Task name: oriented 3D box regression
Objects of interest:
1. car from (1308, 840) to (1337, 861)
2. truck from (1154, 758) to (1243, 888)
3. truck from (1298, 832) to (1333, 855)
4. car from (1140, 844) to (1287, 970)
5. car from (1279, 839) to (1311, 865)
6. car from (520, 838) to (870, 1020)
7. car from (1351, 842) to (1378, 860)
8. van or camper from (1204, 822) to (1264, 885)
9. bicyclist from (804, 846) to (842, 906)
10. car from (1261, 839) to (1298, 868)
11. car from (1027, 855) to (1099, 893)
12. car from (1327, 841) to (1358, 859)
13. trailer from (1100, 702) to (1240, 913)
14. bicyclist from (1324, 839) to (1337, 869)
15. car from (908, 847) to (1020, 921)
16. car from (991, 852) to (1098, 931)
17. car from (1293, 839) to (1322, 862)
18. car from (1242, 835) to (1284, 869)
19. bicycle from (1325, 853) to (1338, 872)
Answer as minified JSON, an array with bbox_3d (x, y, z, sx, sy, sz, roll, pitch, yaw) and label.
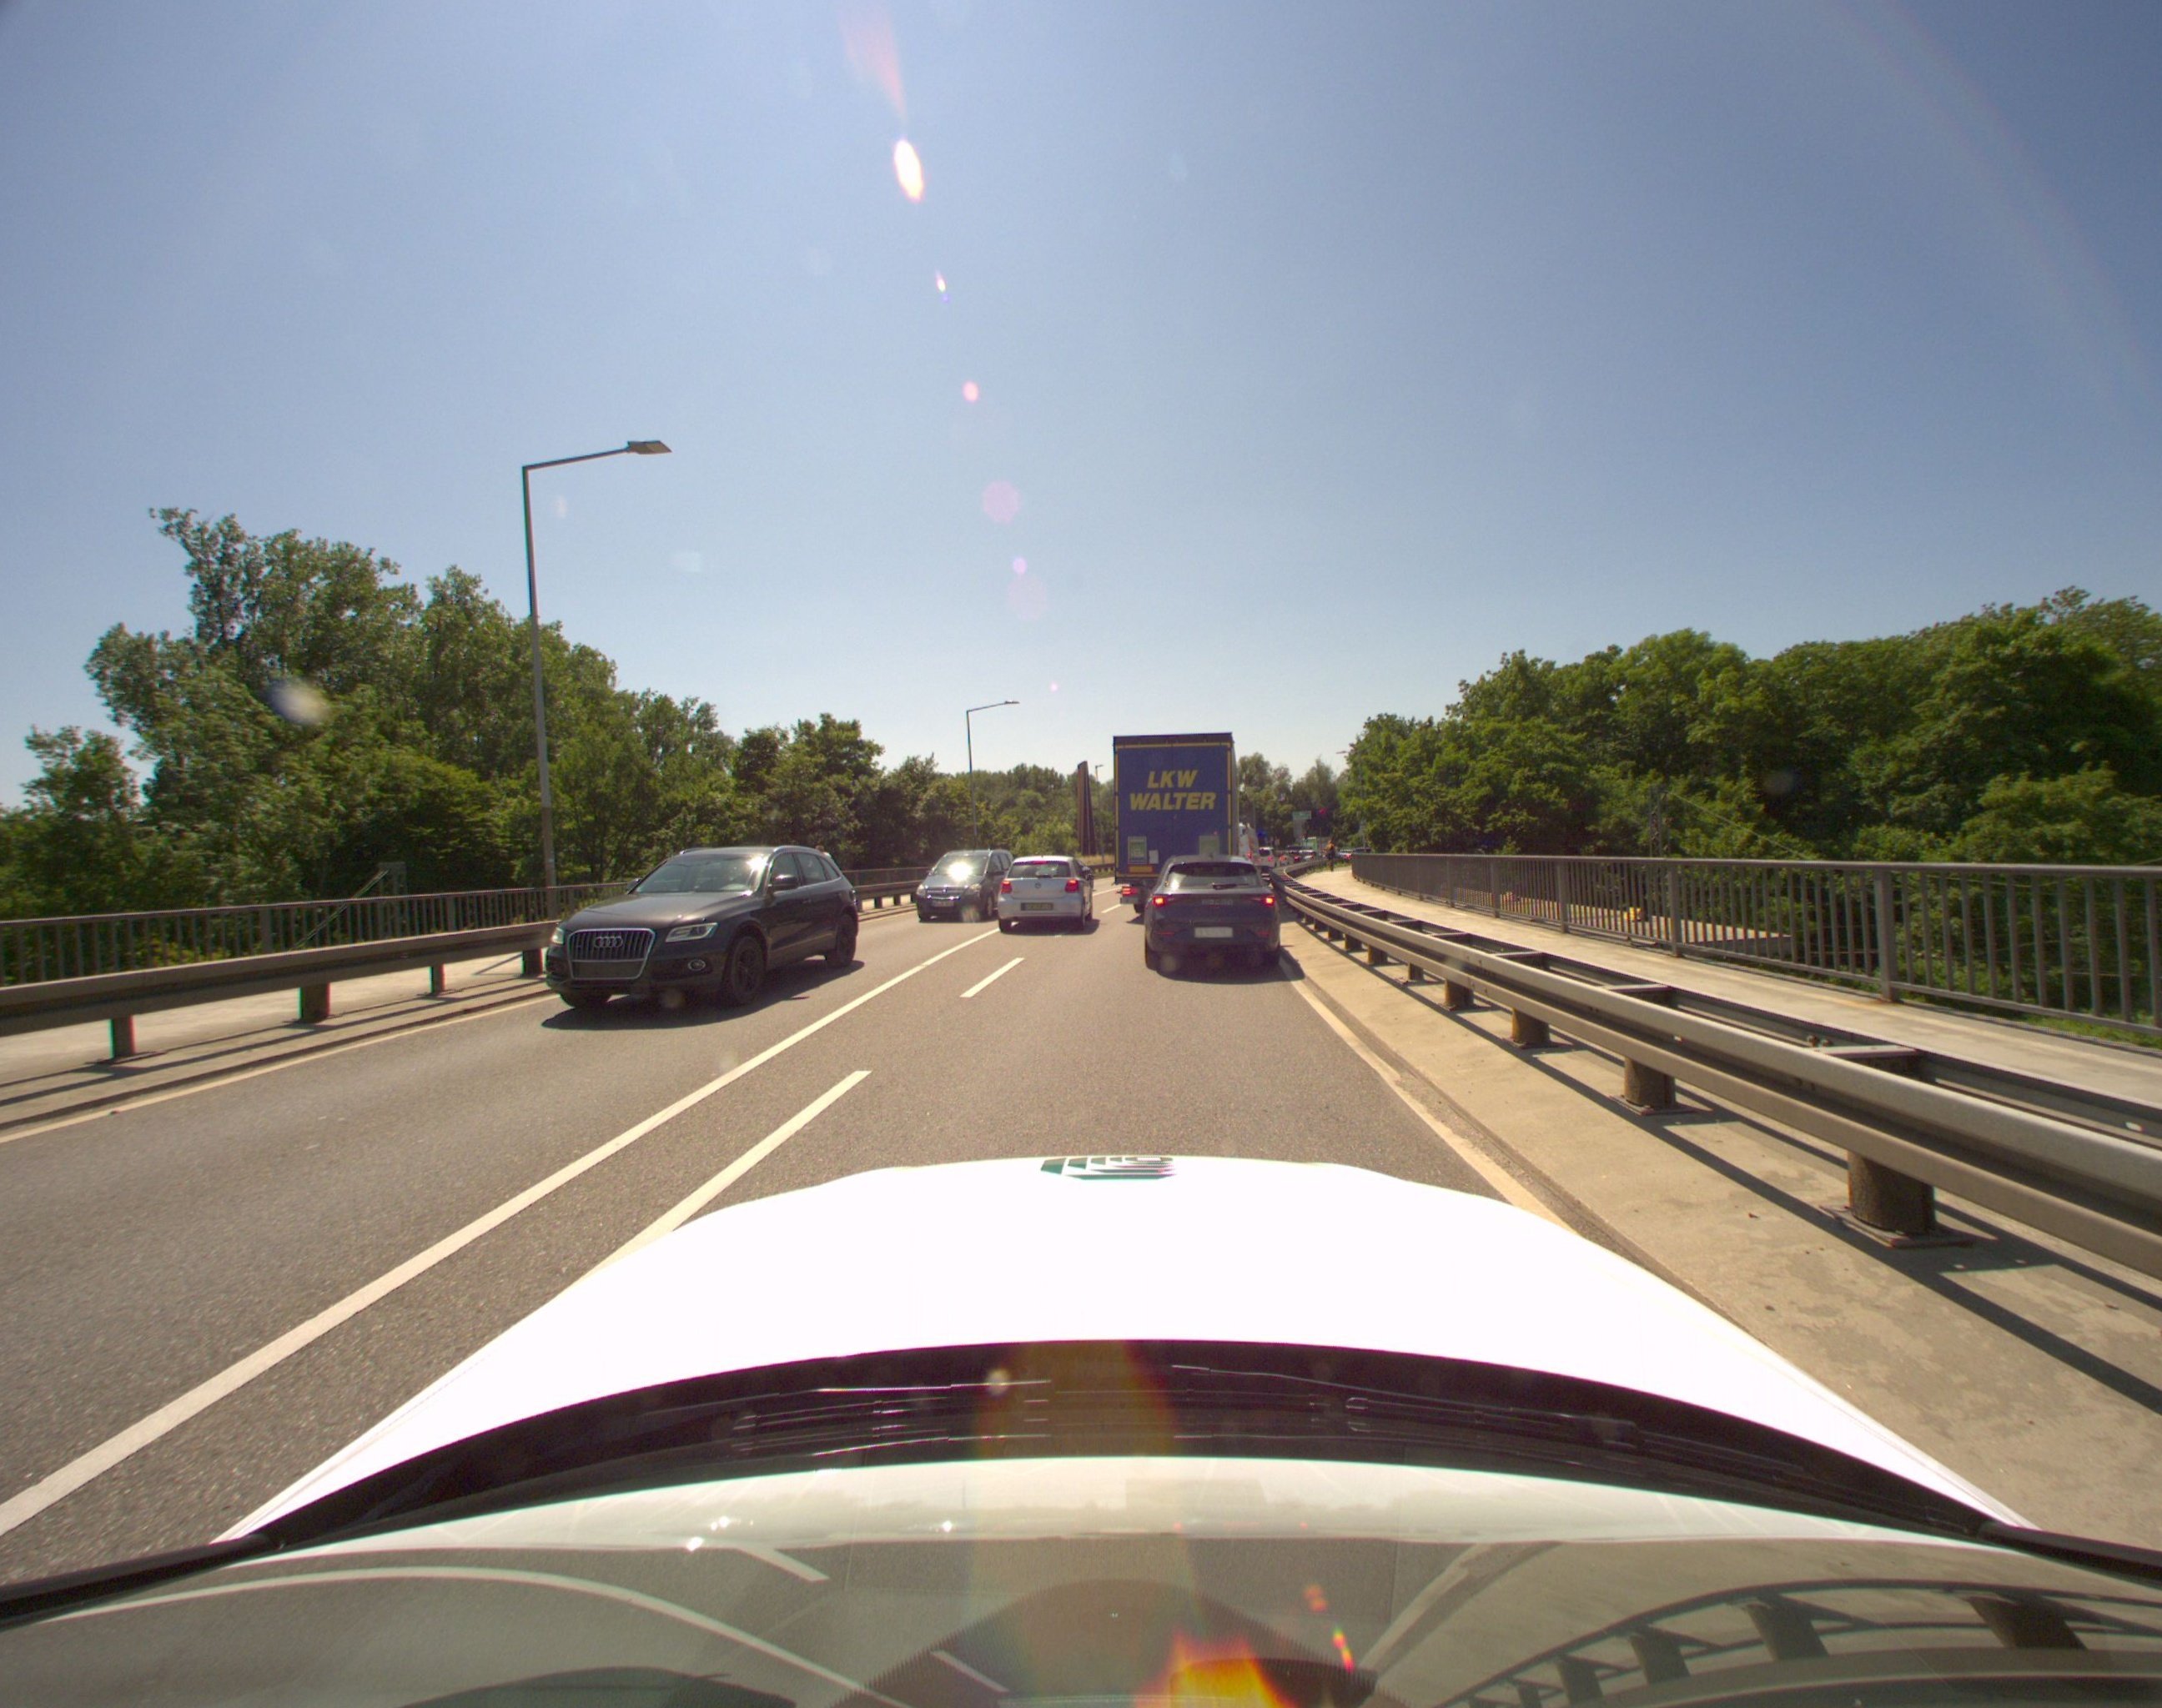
[{"bbox_3d":[21.704,-0.303,73.024,1.669,1.760,4.024,-1,-1,28],"label":"car"},{"bbox_3d":[4.671,-1.082,31.359,2.885,4.418,6.577,-1,0,12],"label":"truck"},{"bbox_3d":[30.448,-1.333,105.775,2.331,2.873,5.930,-1,0,-5],"label":"truck"},{"bbox_3d":[1.774,0.620,11.498,1.668,1.456,3.966,-1,0,7],"label":"car"},{"bbox_3d":[15.930,-0.181,60.485,1.705,1.844,4.023,-1,0,24],"label":"car"},{"bbox_3d":[-4.135,0.691,9.663,1.793,1.641,4.306,-1,0,4],"label":"car"},{"bbox_3d":[29.464,-0.312,84.517,1.669,1.760,4.025,-1,-1,33],"label":"car"},{"bbox_3d":[7.510,-0.047,39.396,2.137,2.815,6.415,-1,0,17],"label":"van or camper"},{"bbox_3d":[-6.726,0.572,21.234,0.580,1.521,0.898,-1,0,6],"label":"bicyclist"},{"bbox_3d":[12.904,-0.072,52.760,1.706,1.802,4.022,-1,0,23],"label":"car"},{"bbox_3d":[-0.636,0.729,31.604,1.665,1.308,3.989,-1,0,16],"label":"car"},{"bbox_3d":[25.430,-0.362,79.118,1.974,1.575,4.025,0,-1,31],"label":"car"},{"bbox_3d":[3.073,-1.020,23.501,2.886,4.418,12.472,-1,0,11],"label":"trailer"},{"bbox_3d":[14.331,0.012,46.748,0.573,1.683,0.732,-4,-1,14],"label":"bicyclist"},{"bbox_3d":[-2.756,0.650,20.195,1.698,1.626,4.260,-1,0,6],"label":"car"},{"bbox_3d":[-0.637,0.698,17.112,1.669,1.411,3.981,-1,0,6],"label":"car"},{"bbox_3d":[18.536,-0.292,66.605,1.705,1.844,4.023,-1,0,24],"label":"car"},{"bbox_3d":[10.412,-0.136,46.438,1.706,1.844,4.022,-1,1,22],"label":"car"},{"bbox_3d":[14.368,0.476,46.758,0.578,1.035,1.490,-4,-1,14],"label":"bicycle"}]
